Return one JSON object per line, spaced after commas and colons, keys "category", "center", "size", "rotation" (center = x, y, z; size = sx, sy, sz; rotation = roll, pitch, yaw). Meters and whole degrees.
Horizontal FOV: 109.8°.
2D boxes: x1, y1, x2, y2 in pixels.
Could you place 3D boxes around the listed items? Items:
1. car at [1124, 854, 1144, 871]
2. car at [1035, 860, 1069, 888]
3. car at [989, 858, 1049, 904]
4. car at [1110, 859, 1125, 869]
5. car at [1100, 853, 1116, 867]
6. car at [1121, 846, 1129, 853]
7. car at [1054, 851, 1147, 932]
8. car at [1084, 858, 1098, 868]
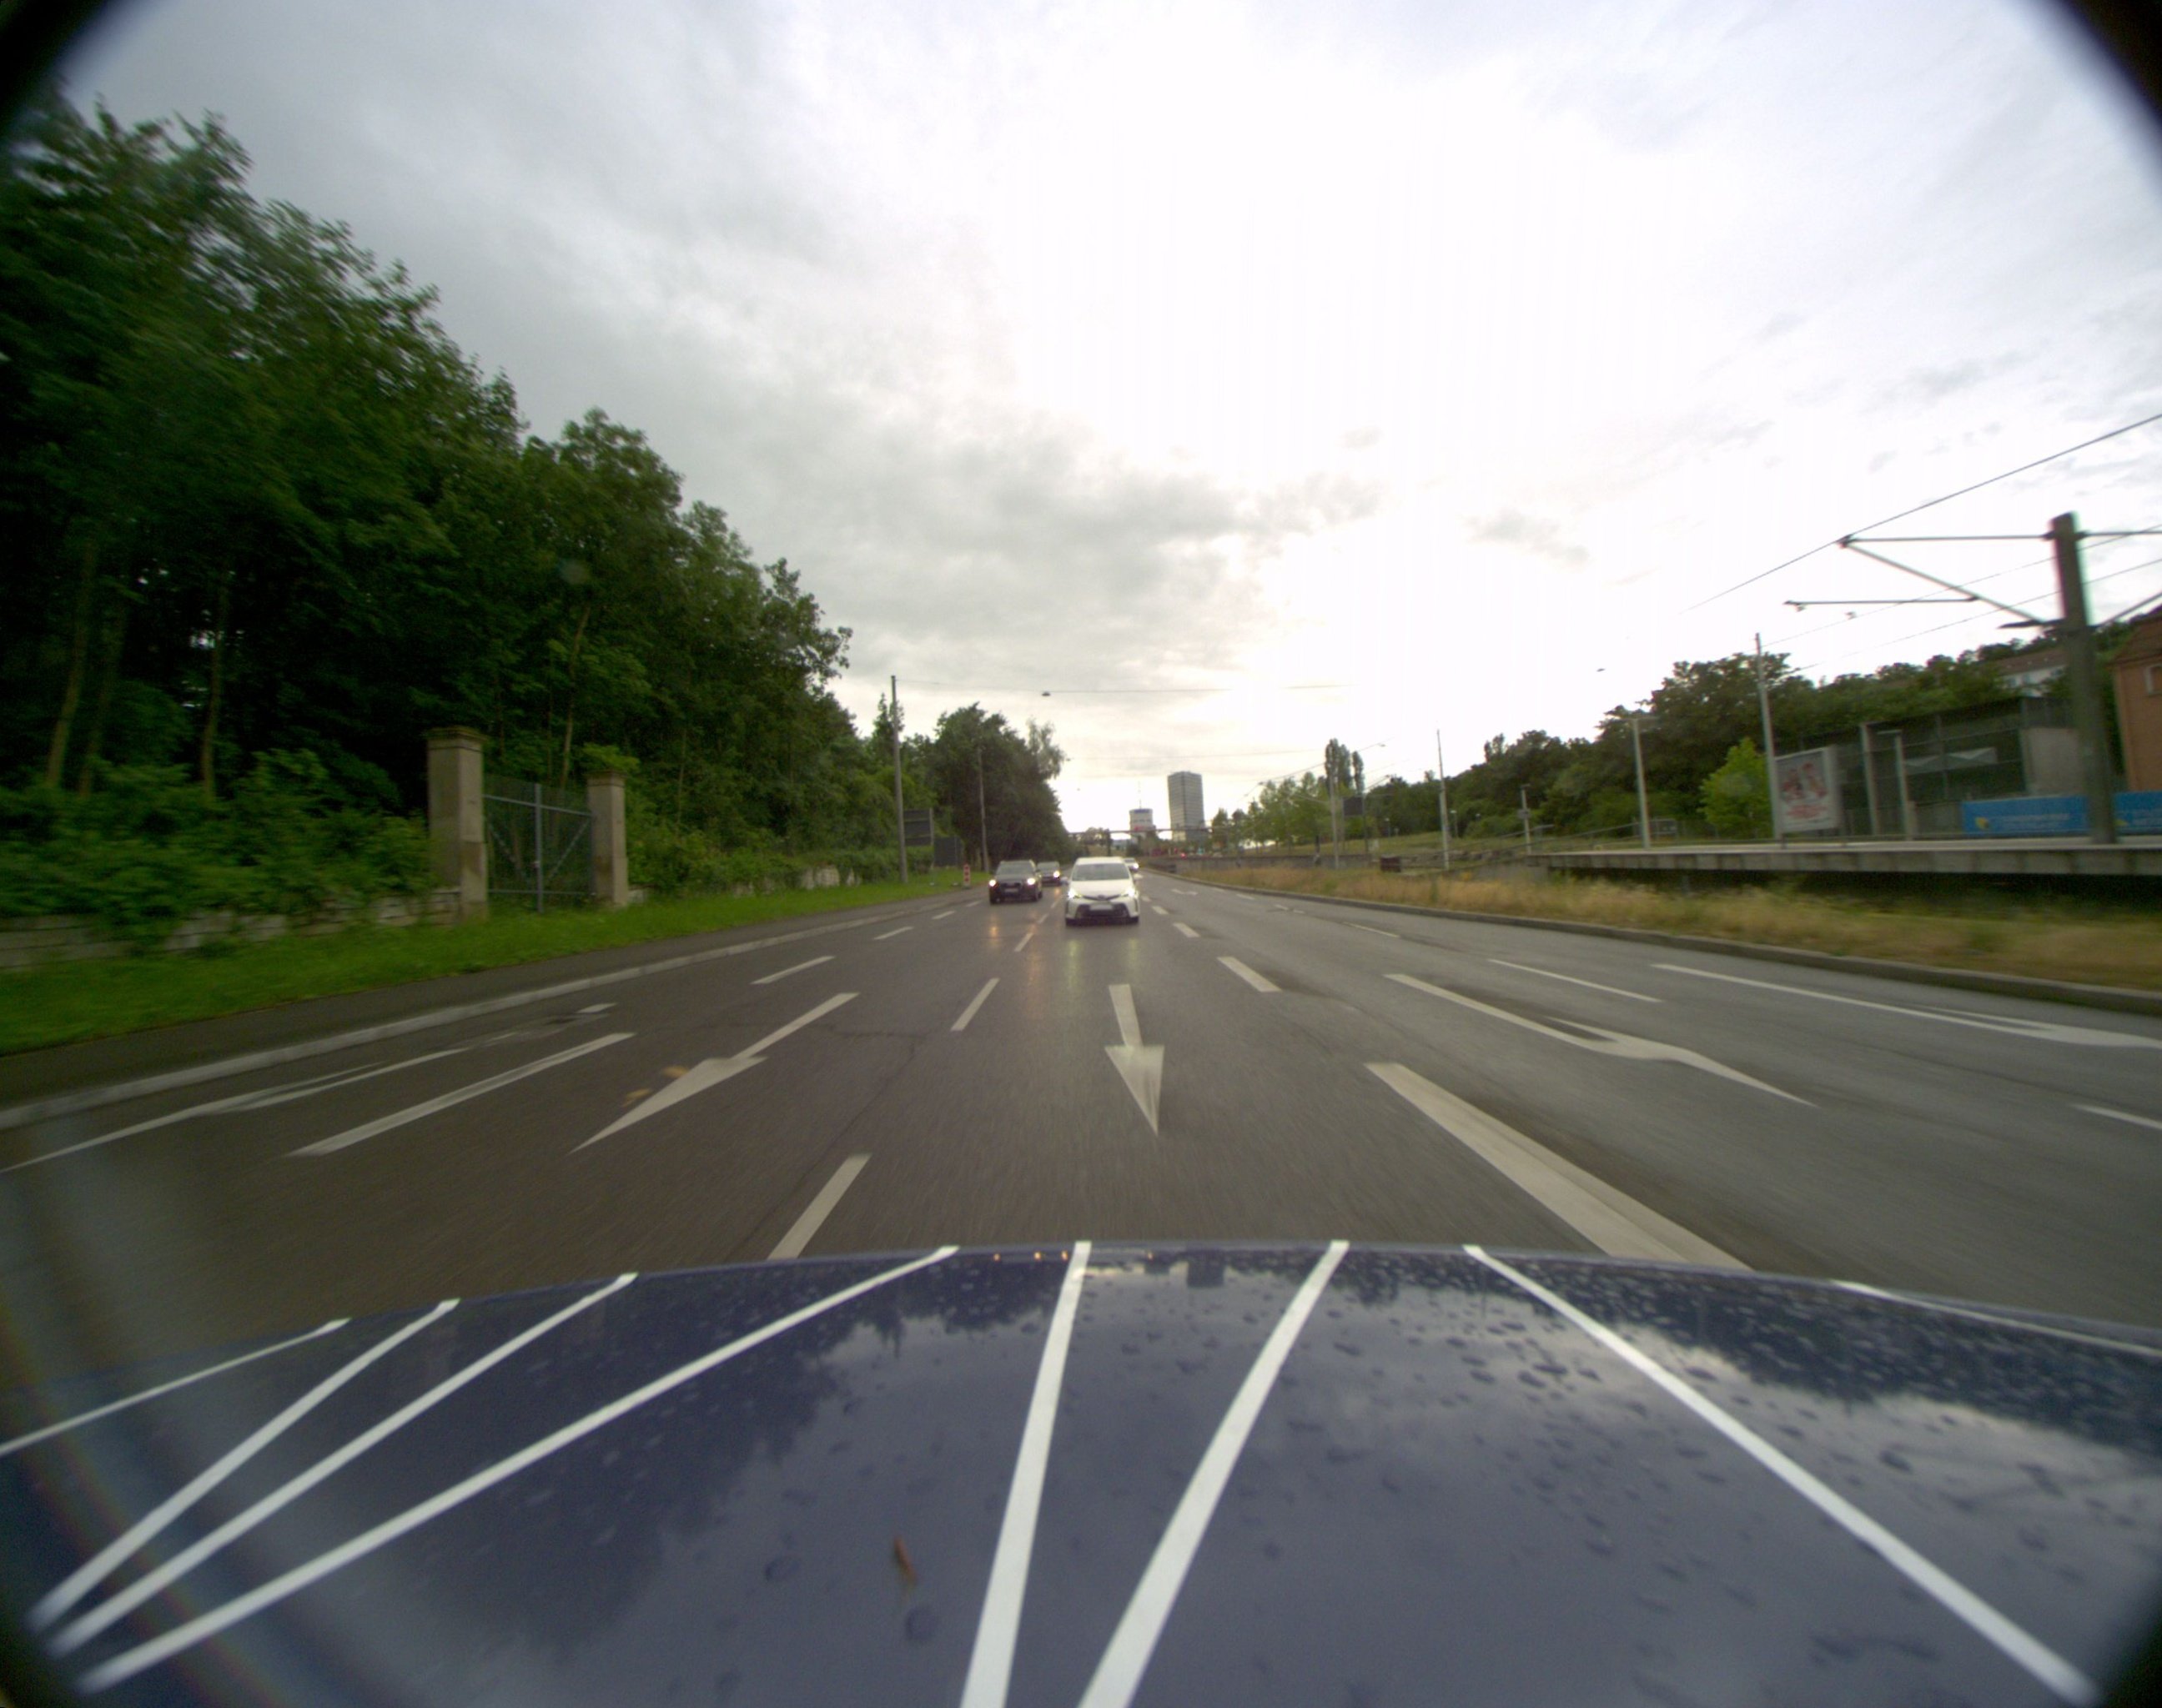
{"category": "car", "center": [5.247, 0.782, 75.283], "size": [1.738, 1.578, 4.000], "rotation": [-3, 0, 2]}
{"category": "car", "center": [-1.728, 1.190, 46.647], "size": [1.738, 1.578, 4.000], "rotation": [-3, 0, 2]}
{"category": "car", "center": [-2.355, 0.997, 29.839], "size": [1.856, 1.578, 4.000], "rotation": [-3, 0, 2]}
{"category": "car", "center": [5.662, 1.530, 118.297], "size": [1.802, 1.462, 3.999], "rotation": [-3, -1, -4]}
{"category": "car", "center": [3.124, 0.662, 88.104], "size": [1.738, 1.578, 4.000], "rotation": [-3, 0, 2]}
{"category": "car", "center": [9.596, -0.925, 165.143], "size": [1.801, 1.462, 4.001], "rotation": [-3, -1, 3]}
{"category": "car", "center": [0.375, 0.840, 19.144], "size": [1.856, 1.741, 3.998], "rotation": [-3, 0, -5]}
{"category": "car", "center": [1.505, 1.360, 114.737], "size": [1.802, 1.462, 4.000], "rotation": [-3, -1, -2]}
